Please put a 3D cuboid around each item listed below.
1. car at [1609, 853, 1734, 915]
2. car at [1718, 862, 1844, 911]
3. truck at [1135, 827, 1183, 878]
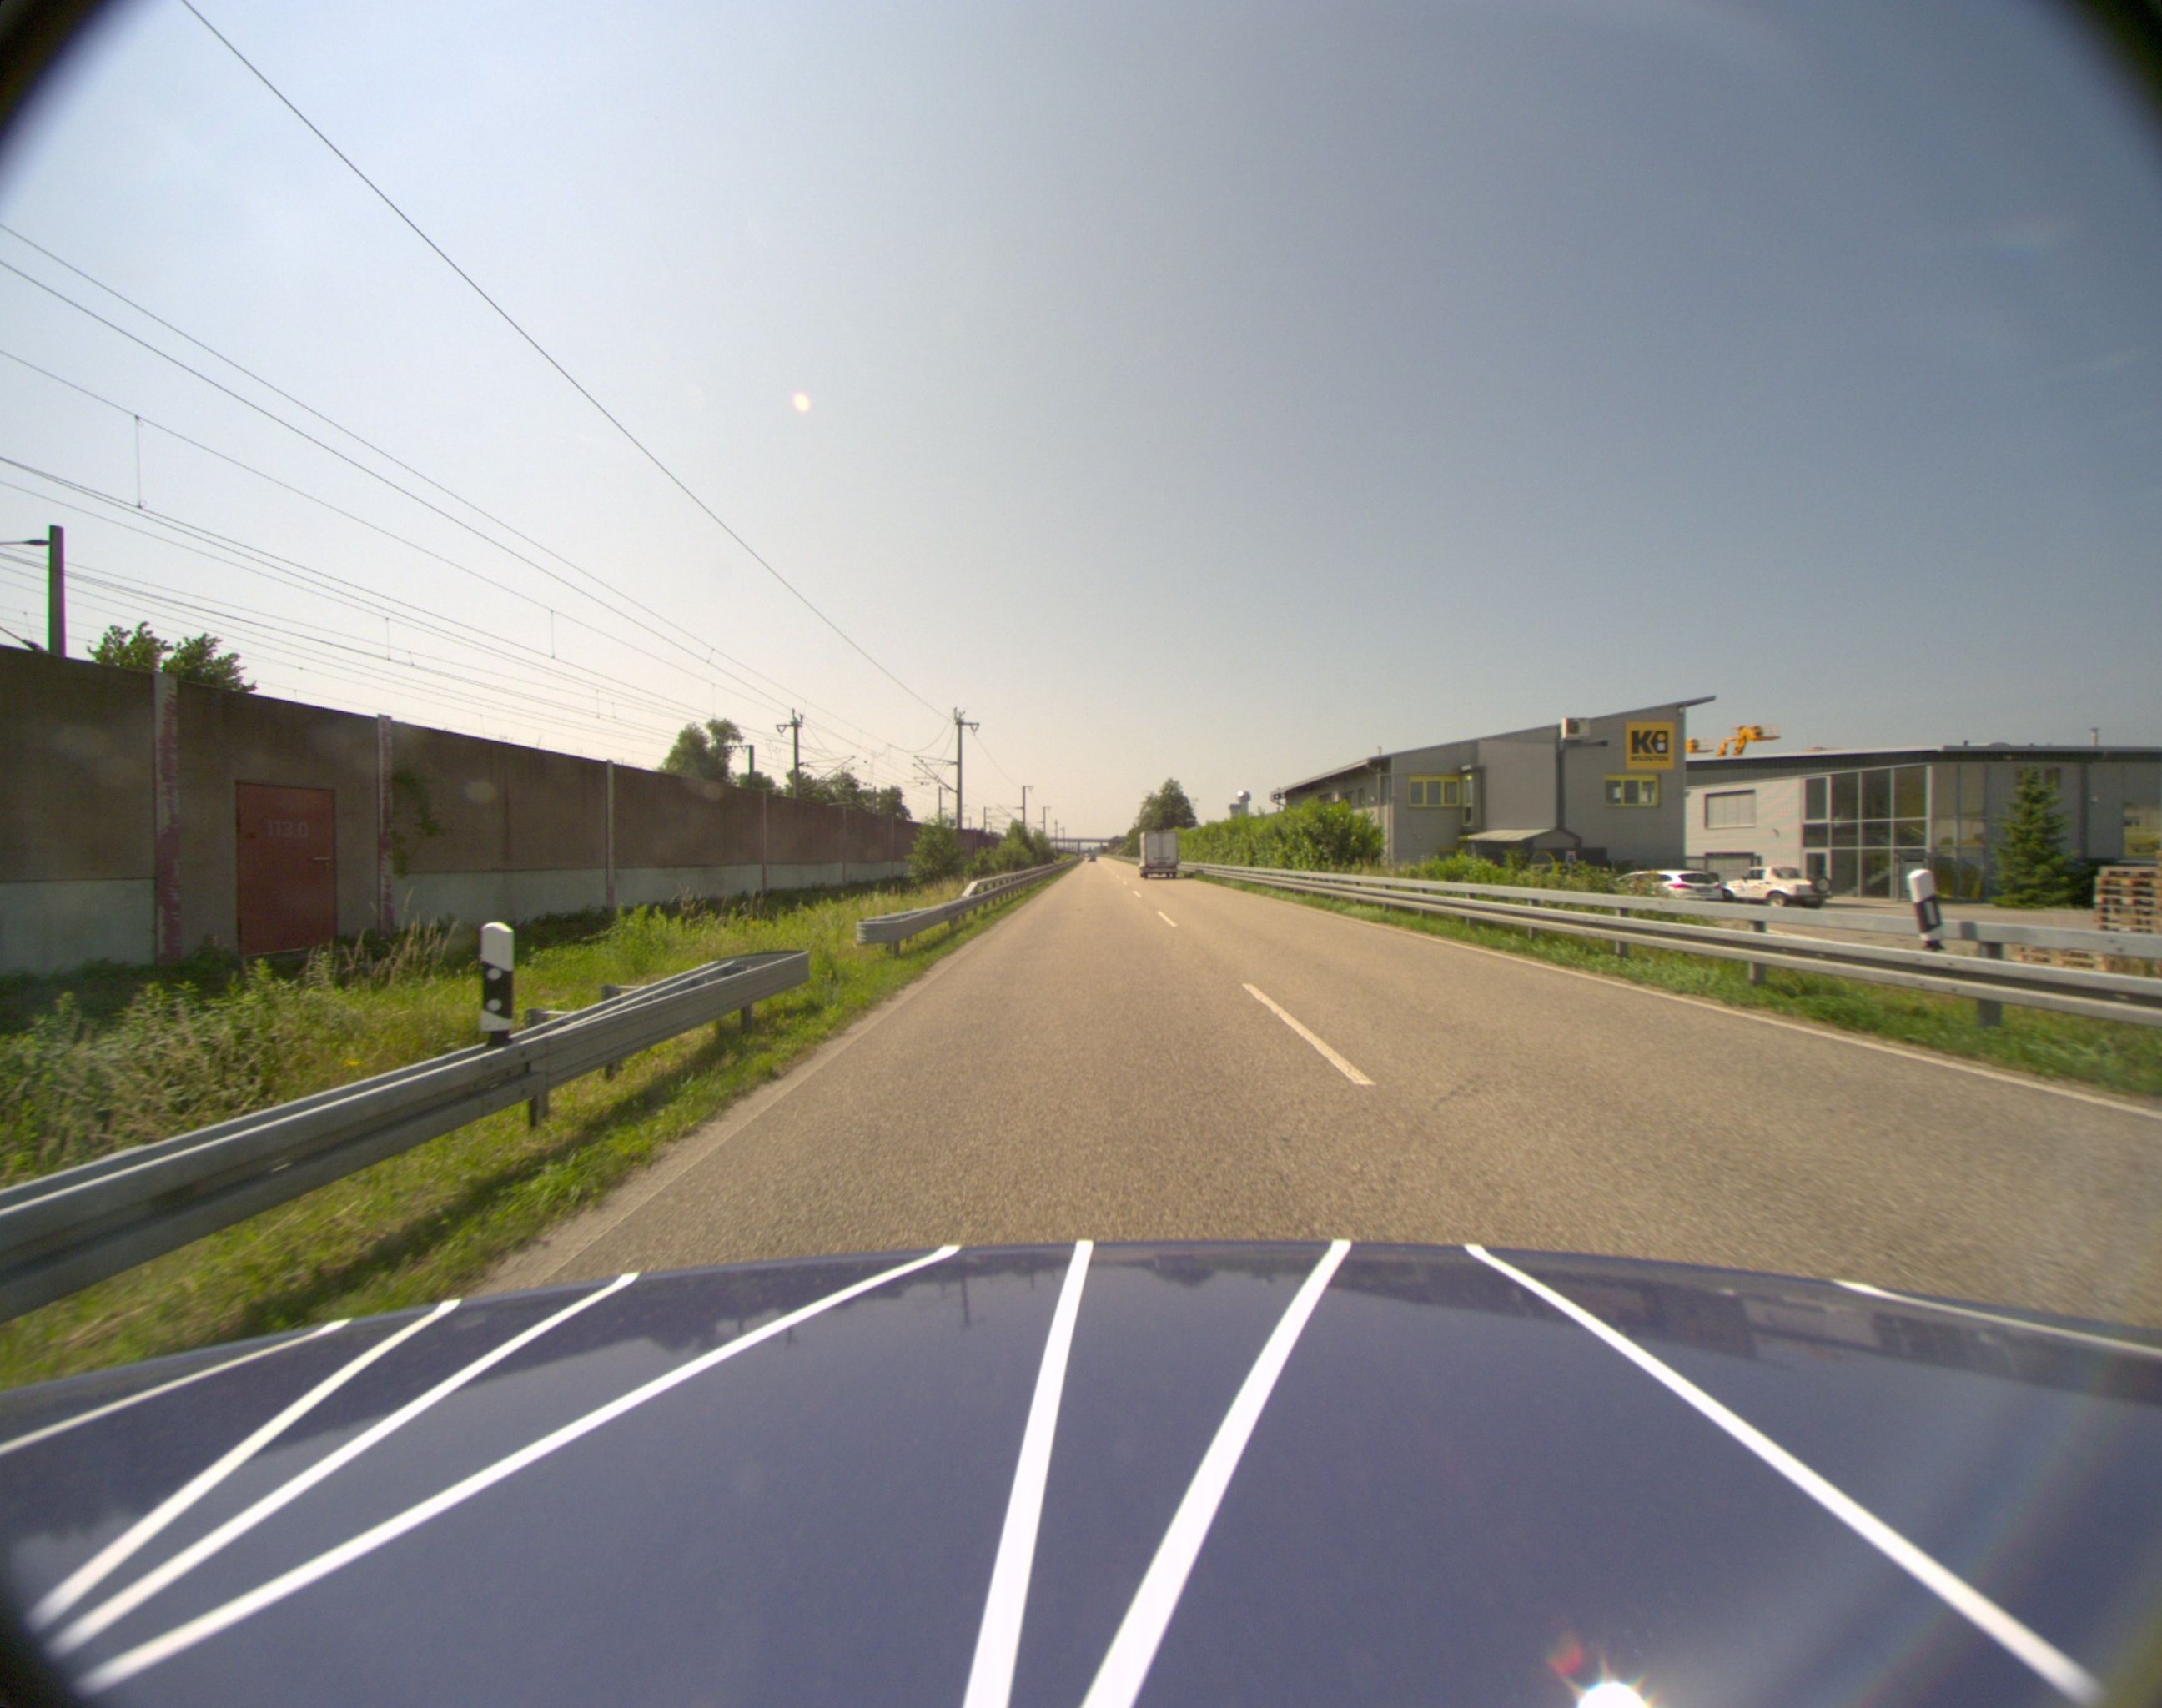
[{"bbox_3d":[20.641,0.977,26.739,1.476,2.002,3.483,2,0,-4],"label":"car"},{"bbox_3d":[26.440,1.185,28.846,1.555,1.664,3.311,0,1,-4],"label":"car"},{"bbox_3d":[4.909,-0.136,48.787,2.241,2.950,6.317,-2,1,0],"label":"truck"}]
